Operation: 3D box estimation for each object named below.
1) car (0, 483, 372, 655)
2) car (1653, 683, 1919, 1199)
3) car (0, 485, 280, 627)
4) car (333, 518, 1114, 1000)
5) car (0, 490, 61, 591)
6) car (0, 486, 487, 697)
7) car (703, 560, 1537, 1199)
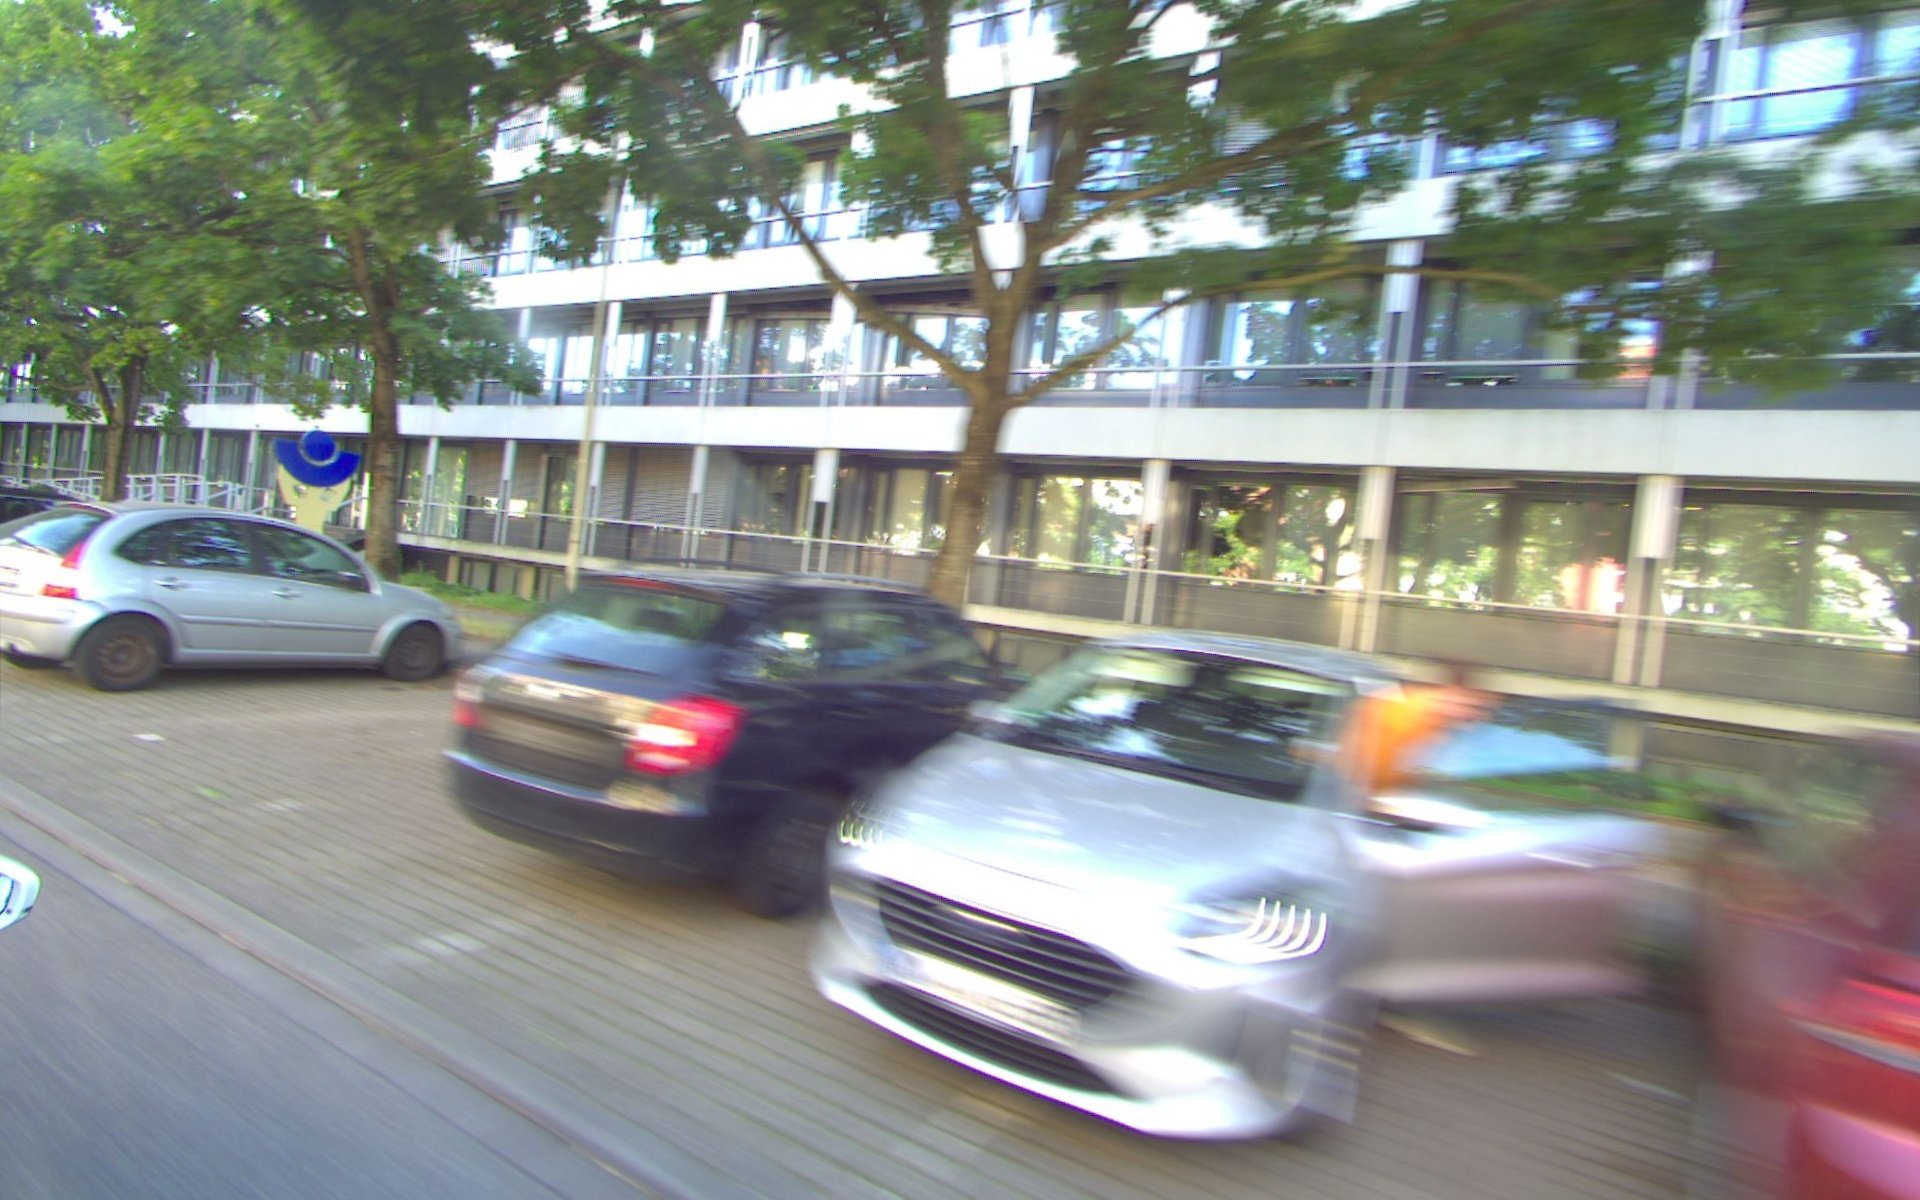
[{"bbox_3d":[-8.775,-0.315,10.288,1.970,1.512,4.290,7,1,29],"label":"car"},{"bbox_3d":[3.276,1.132,2.960,1.892,1.465,3.837,7,1,35],"label":"car"},{"bbox_3d":[-10.935,-0.556,11.756,1.734,1.513,4.592,7,2,31],"label":"car"},{"bbox_3d":[-0.794,0.611,5.925,1.888,1.562,4.522,7,1,27],"label":"car"},{"bbox_3d":[-15.510,-1.031,14.095,1.681,1.438,3.974,7,1,29],"label":"car"},{"bbox_3d":[-6.606,-0.046,9.305,1.589,1.512,3.748,7,1,28],"label":"car"},{"bbox_3d":[1.266,0.854,4.641,1.892,1.562,4.514,7,1,35],"label":"car"}]
